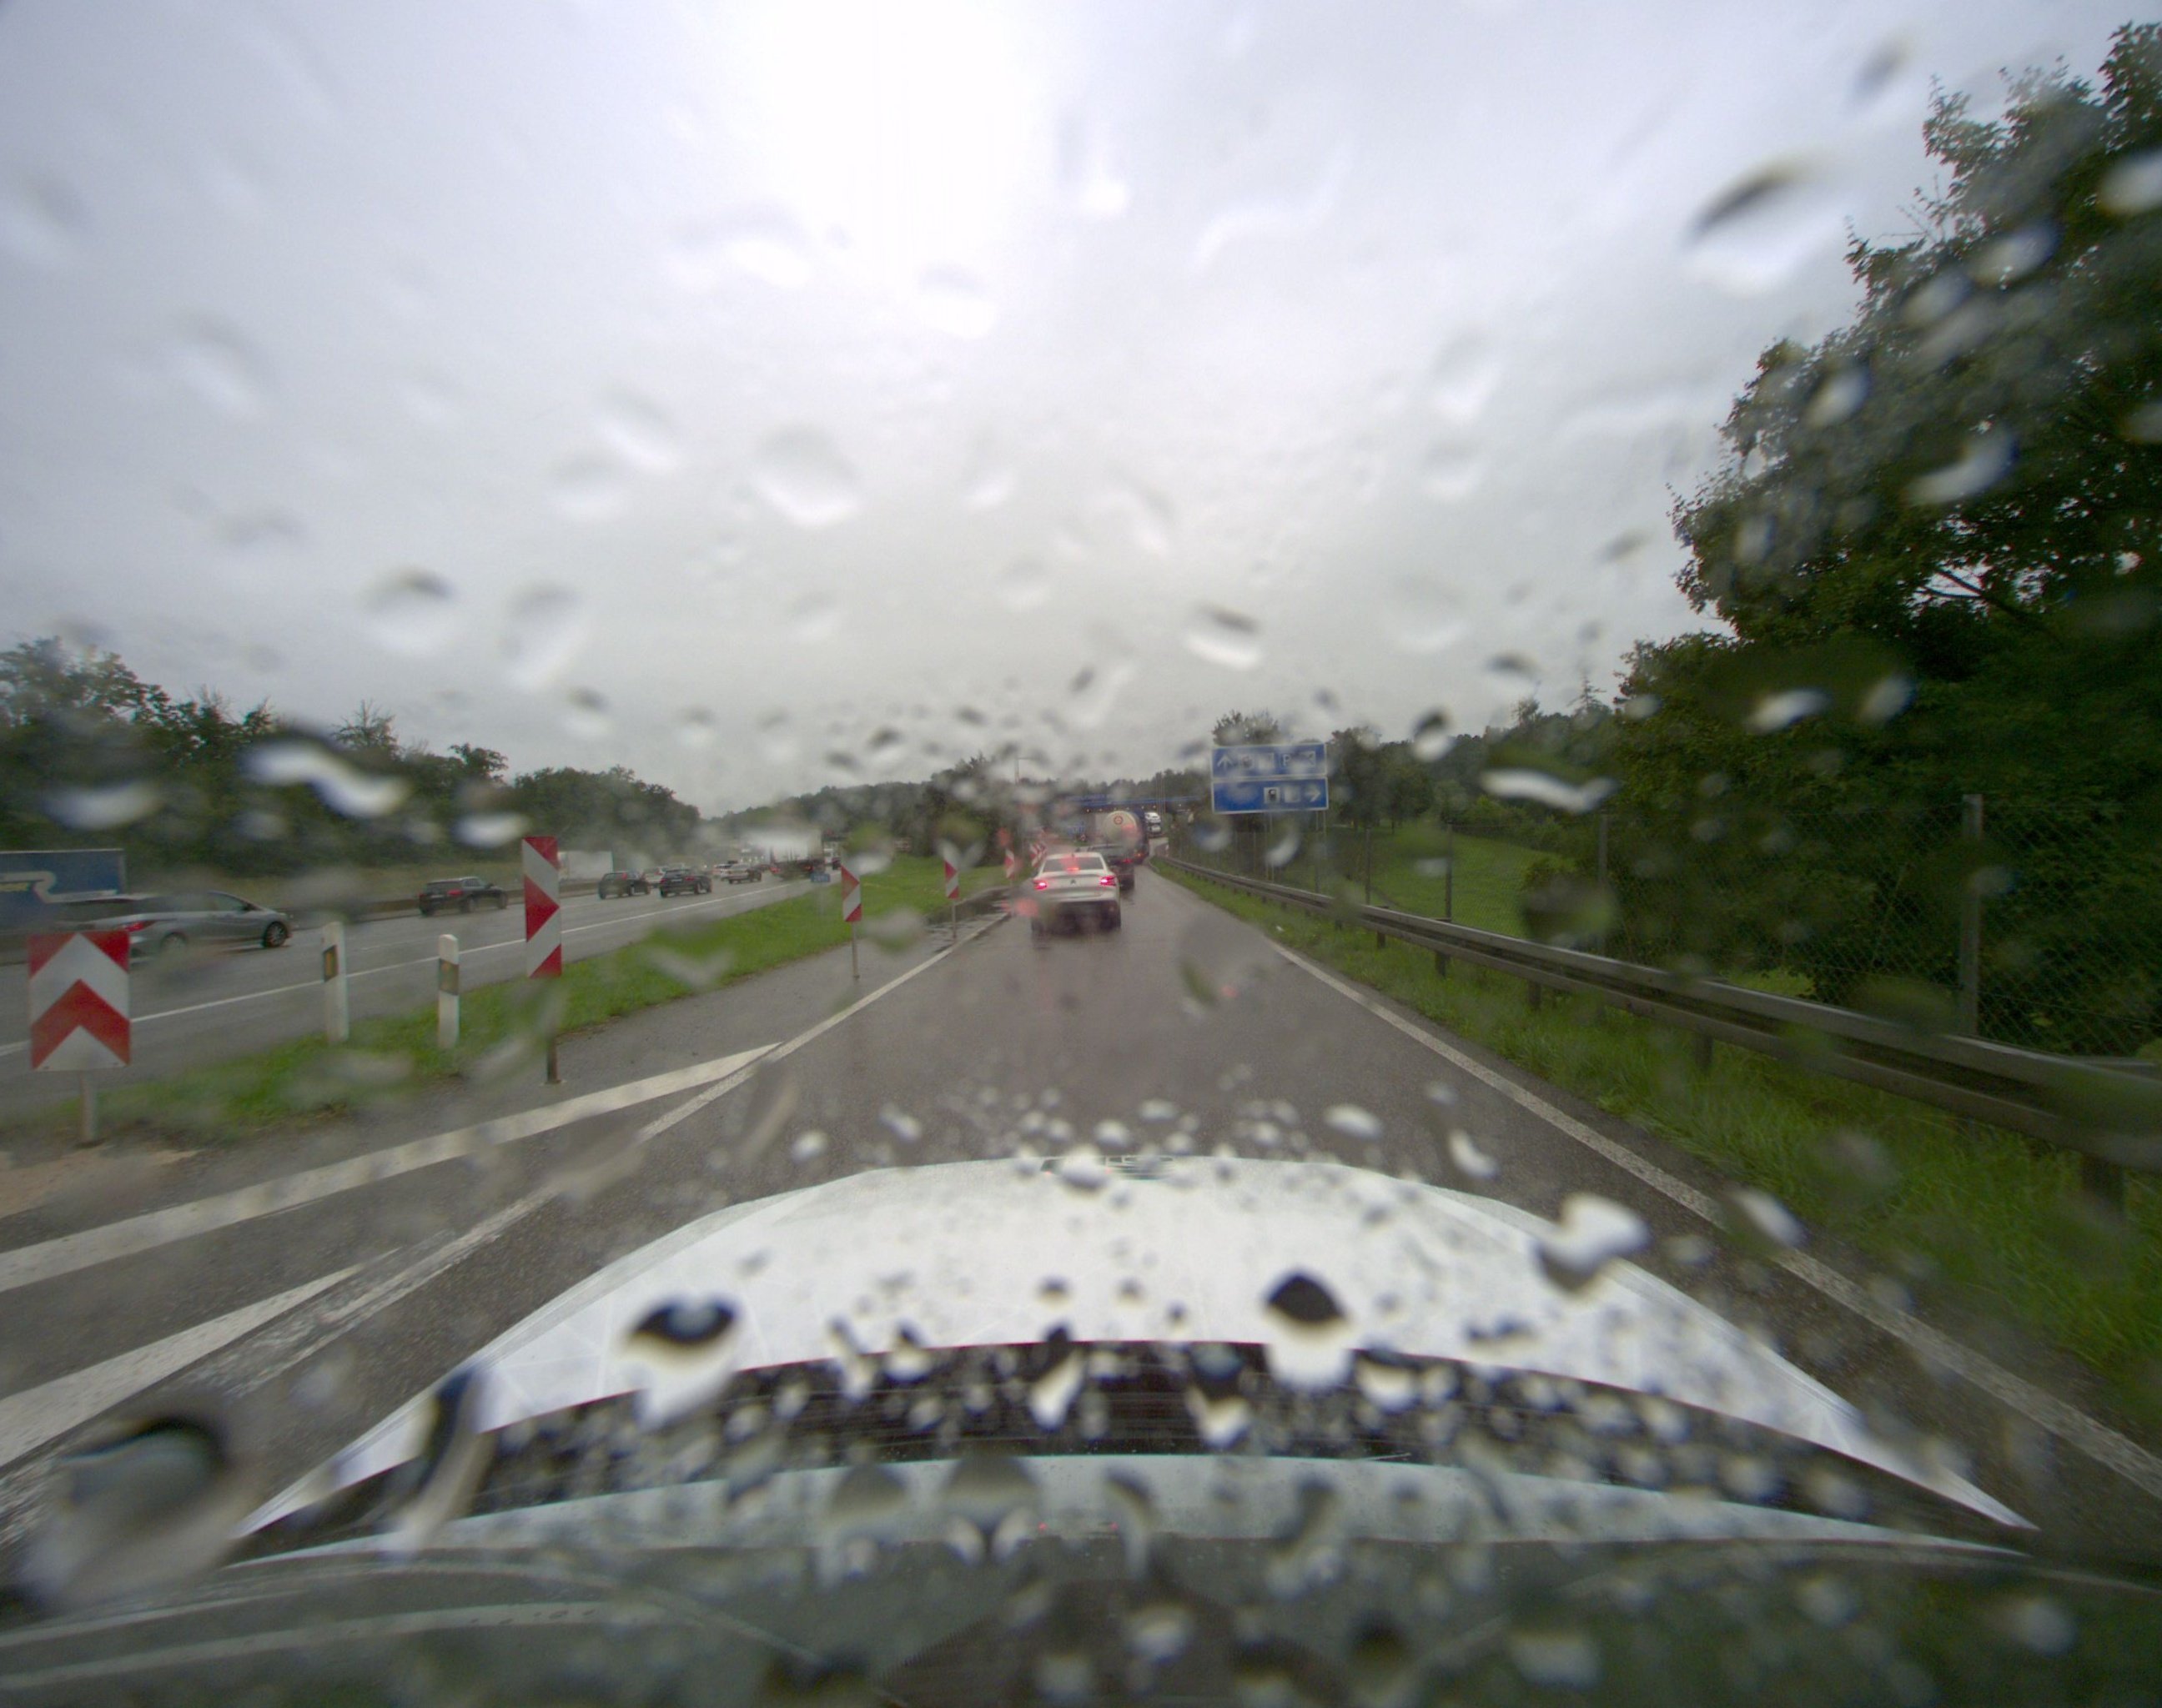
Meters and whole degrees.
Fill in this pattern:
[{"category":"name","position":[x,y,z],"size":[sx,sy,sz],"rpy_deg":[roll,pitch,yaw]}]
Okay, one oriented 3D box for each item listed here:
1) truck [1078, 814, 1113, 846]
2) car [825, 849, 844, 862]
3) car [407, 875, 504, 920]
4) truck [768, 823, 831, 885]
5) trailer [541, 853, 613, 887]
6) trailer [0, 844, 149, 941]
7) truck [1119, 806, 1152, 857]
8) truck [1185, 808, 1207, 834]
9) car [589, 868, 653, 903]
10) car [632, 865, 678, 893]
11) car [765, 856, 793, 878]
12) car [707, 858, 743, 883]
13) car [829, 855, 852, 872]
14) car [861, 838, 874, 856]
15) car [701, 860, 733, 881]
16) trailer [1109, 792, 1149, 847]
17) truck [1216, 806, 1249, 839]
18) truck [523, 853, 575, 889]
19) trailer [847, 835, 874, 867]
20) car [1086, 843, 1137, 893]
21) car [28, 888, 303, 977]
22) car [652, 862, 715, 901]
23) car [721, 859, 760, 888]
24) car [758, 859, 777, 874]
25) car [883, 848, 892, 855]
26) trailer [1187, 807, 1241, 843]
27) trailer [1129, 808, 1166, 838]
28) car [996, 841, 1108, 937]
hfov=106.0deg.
[{"category":"truck","position":[1.846,-3.277,110.238],"size":[2.370,3.873,12.416],"rpy_deg":[-4,2,-9]},{"category":"car","position":[-36.610,0.227,121.029],"size":[1.993,1.815,3.988],"rpy_deg":[-1,1,-9]},{"category":"car","position":[-28.950,1.972,37.856],"size":[1.776,1.736,4.085],"rpy_deg":[-4,1,-10]},{"category":"truck","position":[-22.039,0.022,64.451],"size":[2.851,4.292,11.797],"rpy_deg":[-3,0,-11]},{"category":"trailer","position":[-57.829,1.751,93.957],"size":[2.651,3.497,13.427],"rpy_deg":[-3,0,-13]},{"category":"trailer","position":[-46.676,1.612,35.281],"size":[3.090,4.047,9.135],"rpy_deg":[1,-1,-10]},{"category":"truck","position":[4.092,-1.681,60.621],"size":[2.042,3.530,4.756],"rpy_deg":[-3,2,7]},{"category":"truck","position":[18.023,-5.199,127.459],"size":[2.421,3.805,3.994],"rpy_deg":[-4,3,-5]},{"category":"car","position":[-26.055,1.743,46.289],"size":[1.776,1.736,4.086],"rpy_deg":[-4,0,-10]},{"category":"car","position":[-33.699,1.934,64.543],"size":[1.995,2.013,3.985],"rpy_deg":[-4,0,-11]},{"category":"car","position":[-29.672,1.243,80.180],"size":[1.997,2.013,3.980],"rpy_deg":[-4,1,-14]},{"category":"car","position":[-32.002,1.457,73.246],"size":[1.995,2.013,3.984],"rpy_deg":[-4,1,-11]},{"category":"car","position":[-26.822,1.060,90.942],"size":[1.995,1.815,3.985],"rpy_deg":[-2,1,-11]},{"category":"car","position":[-42.904,-1.428,163.761],"size":[2.377,3.485,4.789],"rpy_deg":[0,0,-16]},{"category":"car","position":[-37.638,1.701,84.286],"size":[1.995,2.013,3.984],"rpy_deg":[-4,1,-11]},{"category":"trailer","position":[3.310,-2.251,53.927],"size":[1.970,3.224,10.342],"rpy_deg":[-3,2,6]},{"category":"truck","position":[17.266,-3.592,92.689],"size":[2.125,3.512,4.676],"rpy_deg":[-2,2,30]},{"category":"truck","position":[-55.967,1.733,85.858],"size":[2.649,3.451,5.577],"rpy_deg":[-3,0,-13]},{"category":"trailer","position":[-34.669,-0.450,127.980],"size":[3.556,4.611,12.053],"rpy_deg":[-4,0,-16]},{"category":"car","position":[1.120,0.487,30.115],"size":[1.736,1.667,4.001],"rpy_deg":[-1,0,2]},{"category":"car","position":[-21.094,1.709,19.106],"size":[1.787,1.526,4.323],"rpy_deg":[-4,1,-7]},{"category":"car","position":[-19.984,1.333,41.070],"size":[1.776,1.736,3.833],"rpy_deg":[-4,1,-10]},{"category":"car","position":[-25.199,1.399,60.344],"size":[1.790,1.971,4.317],"rpy_deg":[-3,0,-12]},{"category":"car","position":[-41.341,1.651,107.402],"size":[1.699,1.786,3.769],"rpy_deg":[-3,0,-13]},{"category":"car","position":[-50.248,-0.652,211.640],"size":[1.999,2.013,3.976],"rpy_deg":[0,0,-18]},{"category":"trailer","position":[14.470,-3.231,87.824],"size":[2.111,3.440,10.320],"rpy_deg":[-2,2,30]},{"category":"trailer","position":[9.850,-4.604,122.402],"size":[3.213,4.188,11.502],"rpy_deg":[-3,2,-7]},{"category":"car","position":[-0.521,0.617,16.895],"size":[1.987,1.679,4.000],"rpy_deg":[-2,0,0]}]
